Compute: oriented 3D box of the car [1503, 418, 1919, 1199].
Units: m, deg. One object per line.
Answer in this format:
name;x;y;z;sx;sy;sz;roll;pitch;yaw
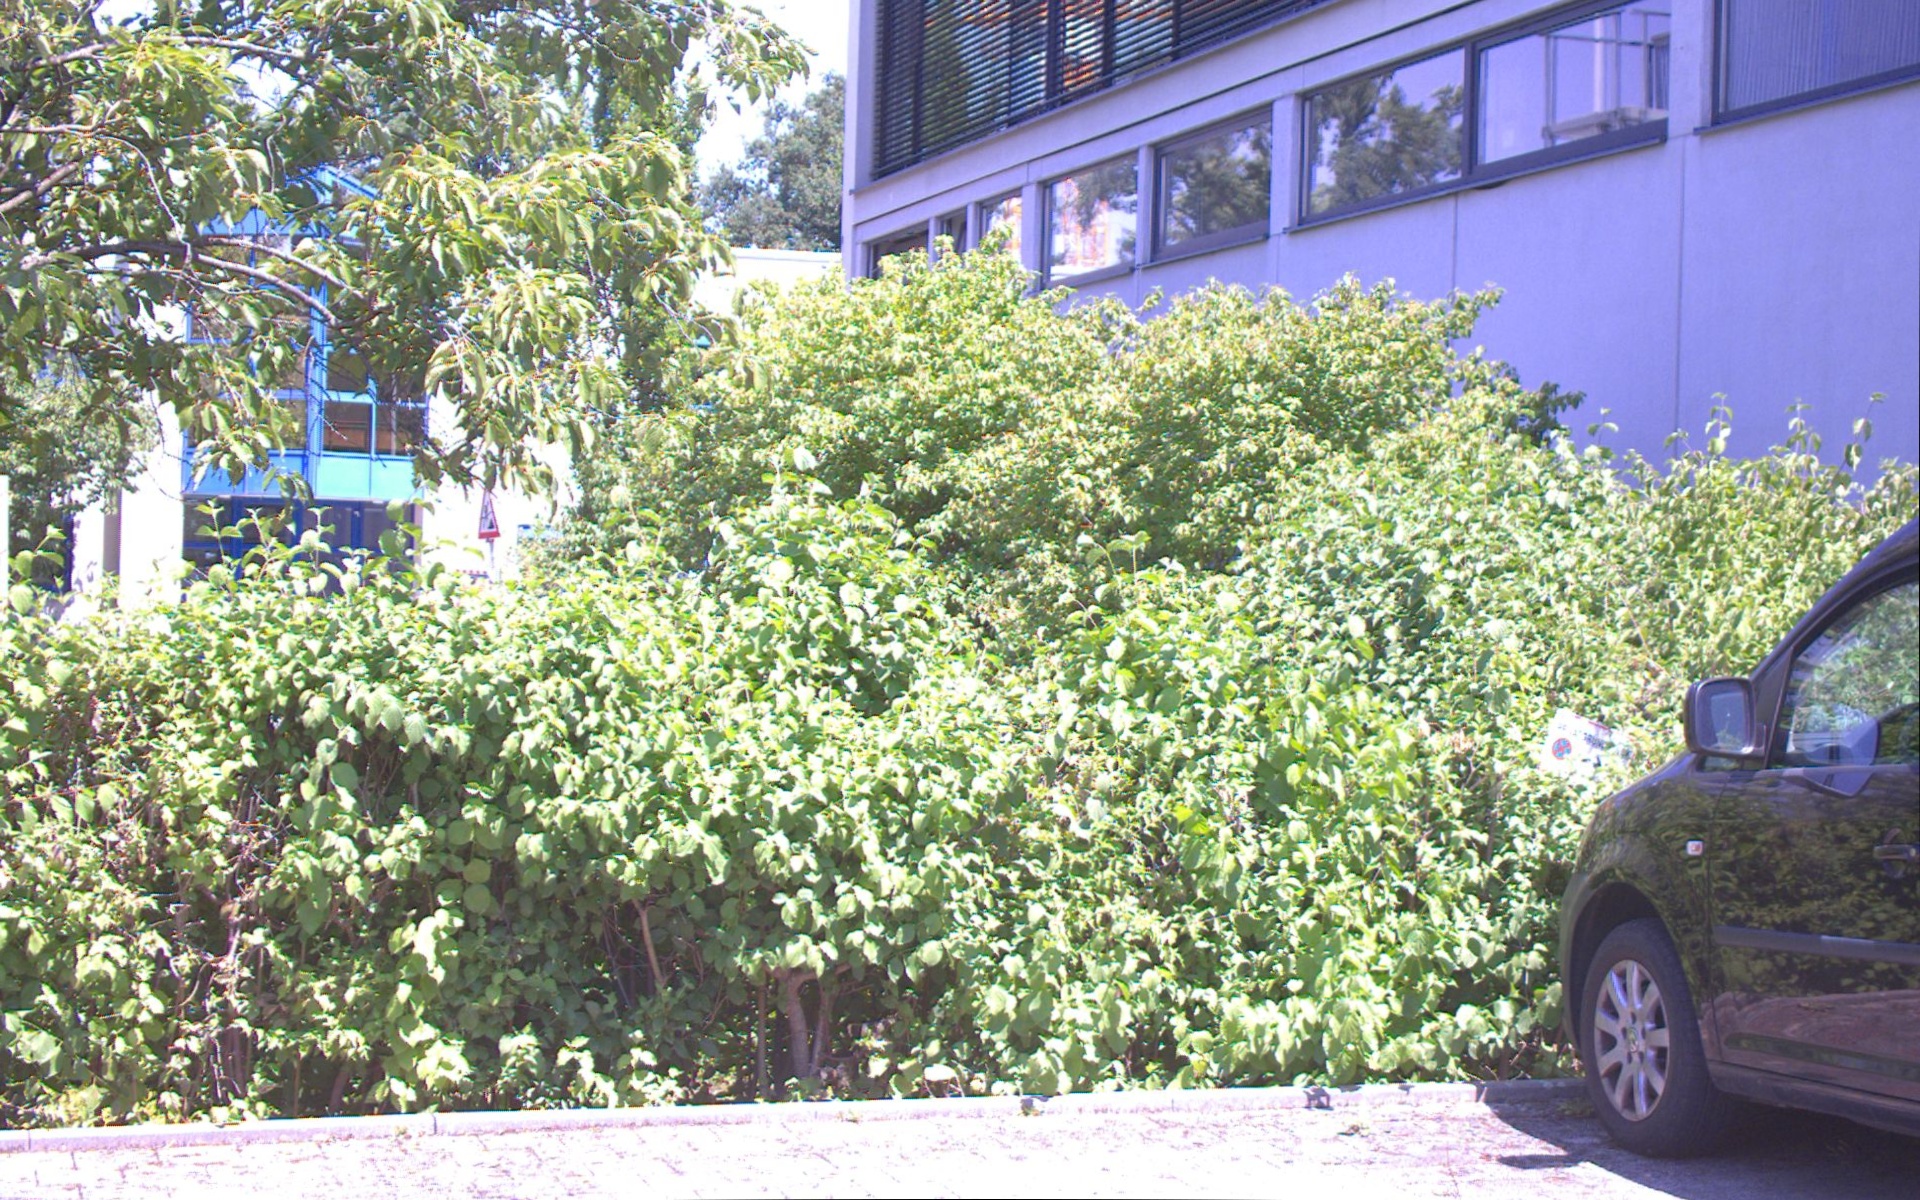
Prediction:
car;2.908;0.529;7.632;1.742;1.831;4.001;0;0;-18
